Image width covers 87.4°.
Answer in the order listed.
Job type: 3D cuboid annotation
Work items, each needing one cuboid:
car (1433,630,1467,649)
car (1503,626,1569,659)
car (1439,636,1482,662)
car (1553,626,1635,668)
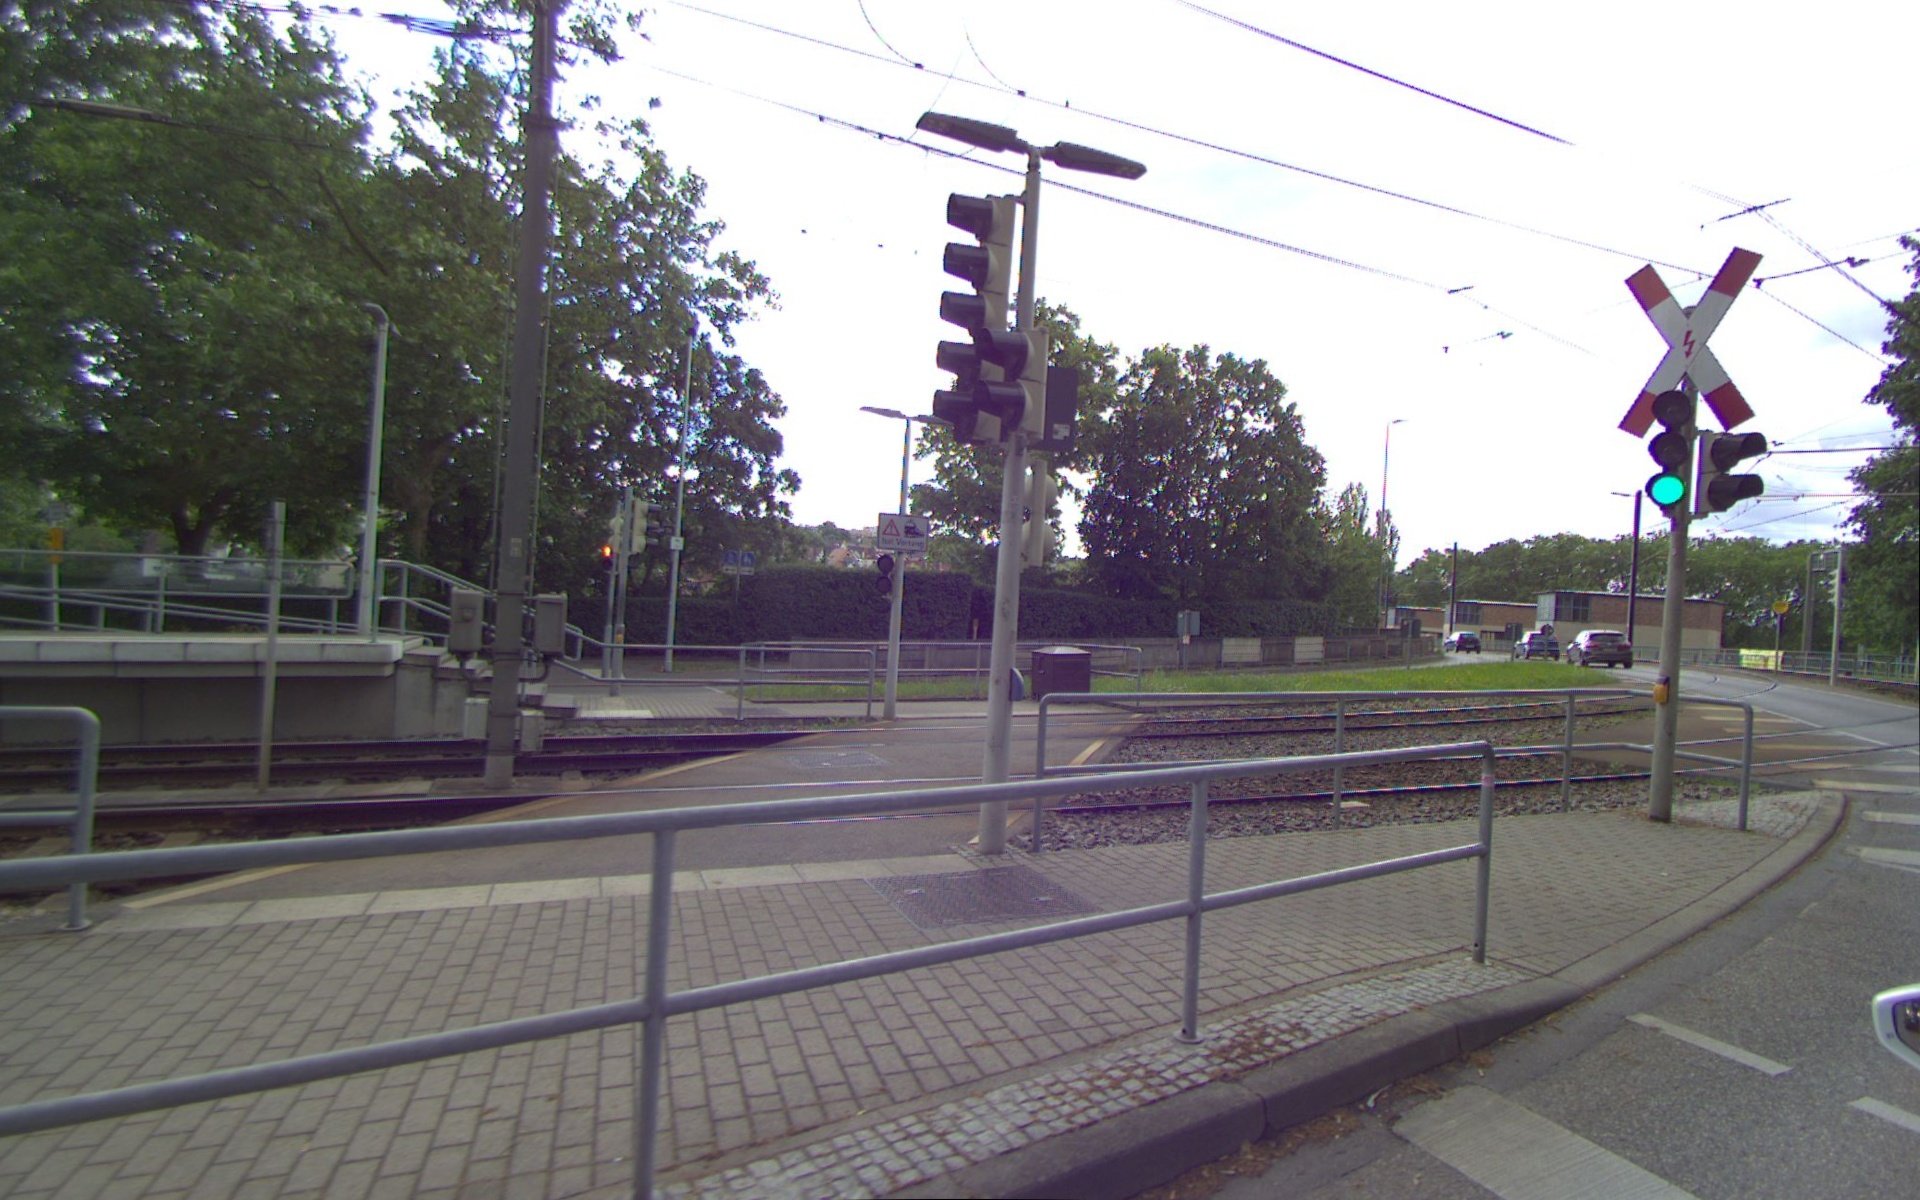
[{"bbox_3d":[45.502,3.672,93.368,1.960,1.591,4.907,4,-1,17],"label":"car"},{"bbox_3d":[30.981,2.256,54.198,1.960,1.585,4.999,0,-1,16],"label":"car"},{"bbox_3d":[35.064,3.396,70.511,1.960,1.695,4.542,1,-1,17],"label":"car"},{"bbox_3d":[26.430,1.920,42.003,1.740,1.576,4.242,1,-1,16],"label":"car"}]
